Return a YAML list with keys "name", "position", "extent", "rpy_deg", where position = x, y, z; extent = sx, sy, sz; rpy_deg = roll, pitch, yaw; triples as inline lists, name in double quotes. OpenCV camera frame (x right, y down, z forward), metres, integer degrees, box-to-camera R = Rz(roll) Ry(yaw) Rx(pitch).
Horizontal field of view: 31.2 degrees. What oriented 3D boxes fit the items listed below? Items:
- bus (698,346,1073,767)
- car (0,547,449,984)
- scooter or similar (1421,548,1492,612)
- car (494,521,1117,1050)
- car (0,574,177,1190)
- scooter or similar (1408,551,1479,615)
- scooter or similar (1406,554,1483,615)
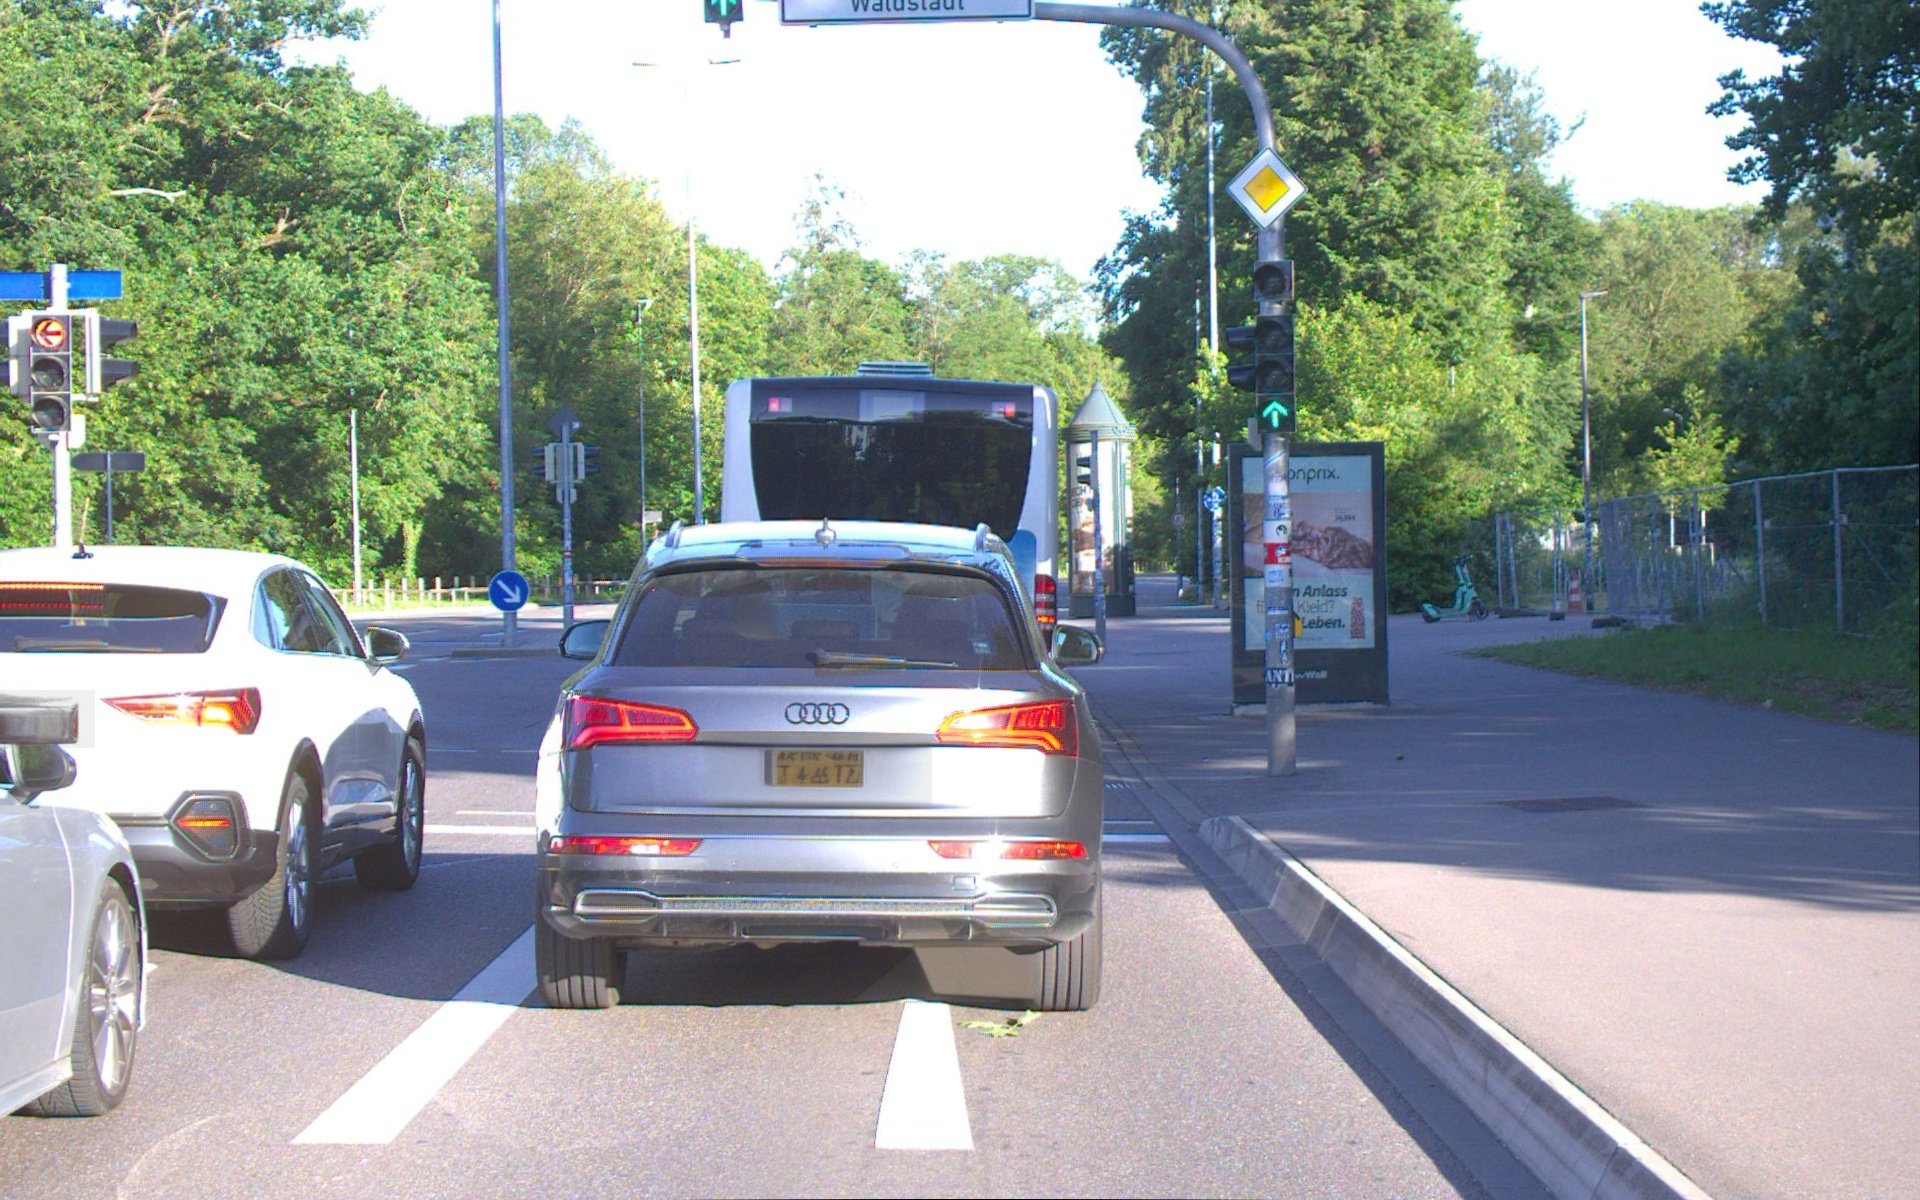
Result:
- name: "bus"
  position: [-0.614, -0.377, 31.081]
  extent: [2.689, 3.032, 12.042]
  rpy_deg: [1, 1, -1]
- name: "car"
  position: [-3.304, 0.542, 14.045]
  extent: [1.833, 1.507, 4.301]
  rpy_deg: [0, 1, -1]
- name: "scooter or similar"
  position: [9.367, -0.371, 64.868]
  extent: [1.246, 1.163, 0.393]
  rpy_deg: [-1, -1, 25]
- name: "car"
  position: [-0.502, 0.539, 12.866]
  extent: [1.893, 1.600, 4.545]
  rpy_deg: [1, 1, -1]
- name: "car"
  position: [-3.063, 0.667, 7.749]
  extent: [1.657, 1.422, 4.318]
  rpy_deg: [0, 1, -1]
- name: "scooter or similar"
  position: [9.036, -0.320, 64.237]
  extent: [1.266, 1.143, 0.394]
  rpy_deg: [-2, -1, 8]
- name: "scooter or similar"
  position: [9.550, -0.301, 67.802]
  extent: [1.441, 1.163, 0.393]
  rpy_deg: [-2, -1, 29]
